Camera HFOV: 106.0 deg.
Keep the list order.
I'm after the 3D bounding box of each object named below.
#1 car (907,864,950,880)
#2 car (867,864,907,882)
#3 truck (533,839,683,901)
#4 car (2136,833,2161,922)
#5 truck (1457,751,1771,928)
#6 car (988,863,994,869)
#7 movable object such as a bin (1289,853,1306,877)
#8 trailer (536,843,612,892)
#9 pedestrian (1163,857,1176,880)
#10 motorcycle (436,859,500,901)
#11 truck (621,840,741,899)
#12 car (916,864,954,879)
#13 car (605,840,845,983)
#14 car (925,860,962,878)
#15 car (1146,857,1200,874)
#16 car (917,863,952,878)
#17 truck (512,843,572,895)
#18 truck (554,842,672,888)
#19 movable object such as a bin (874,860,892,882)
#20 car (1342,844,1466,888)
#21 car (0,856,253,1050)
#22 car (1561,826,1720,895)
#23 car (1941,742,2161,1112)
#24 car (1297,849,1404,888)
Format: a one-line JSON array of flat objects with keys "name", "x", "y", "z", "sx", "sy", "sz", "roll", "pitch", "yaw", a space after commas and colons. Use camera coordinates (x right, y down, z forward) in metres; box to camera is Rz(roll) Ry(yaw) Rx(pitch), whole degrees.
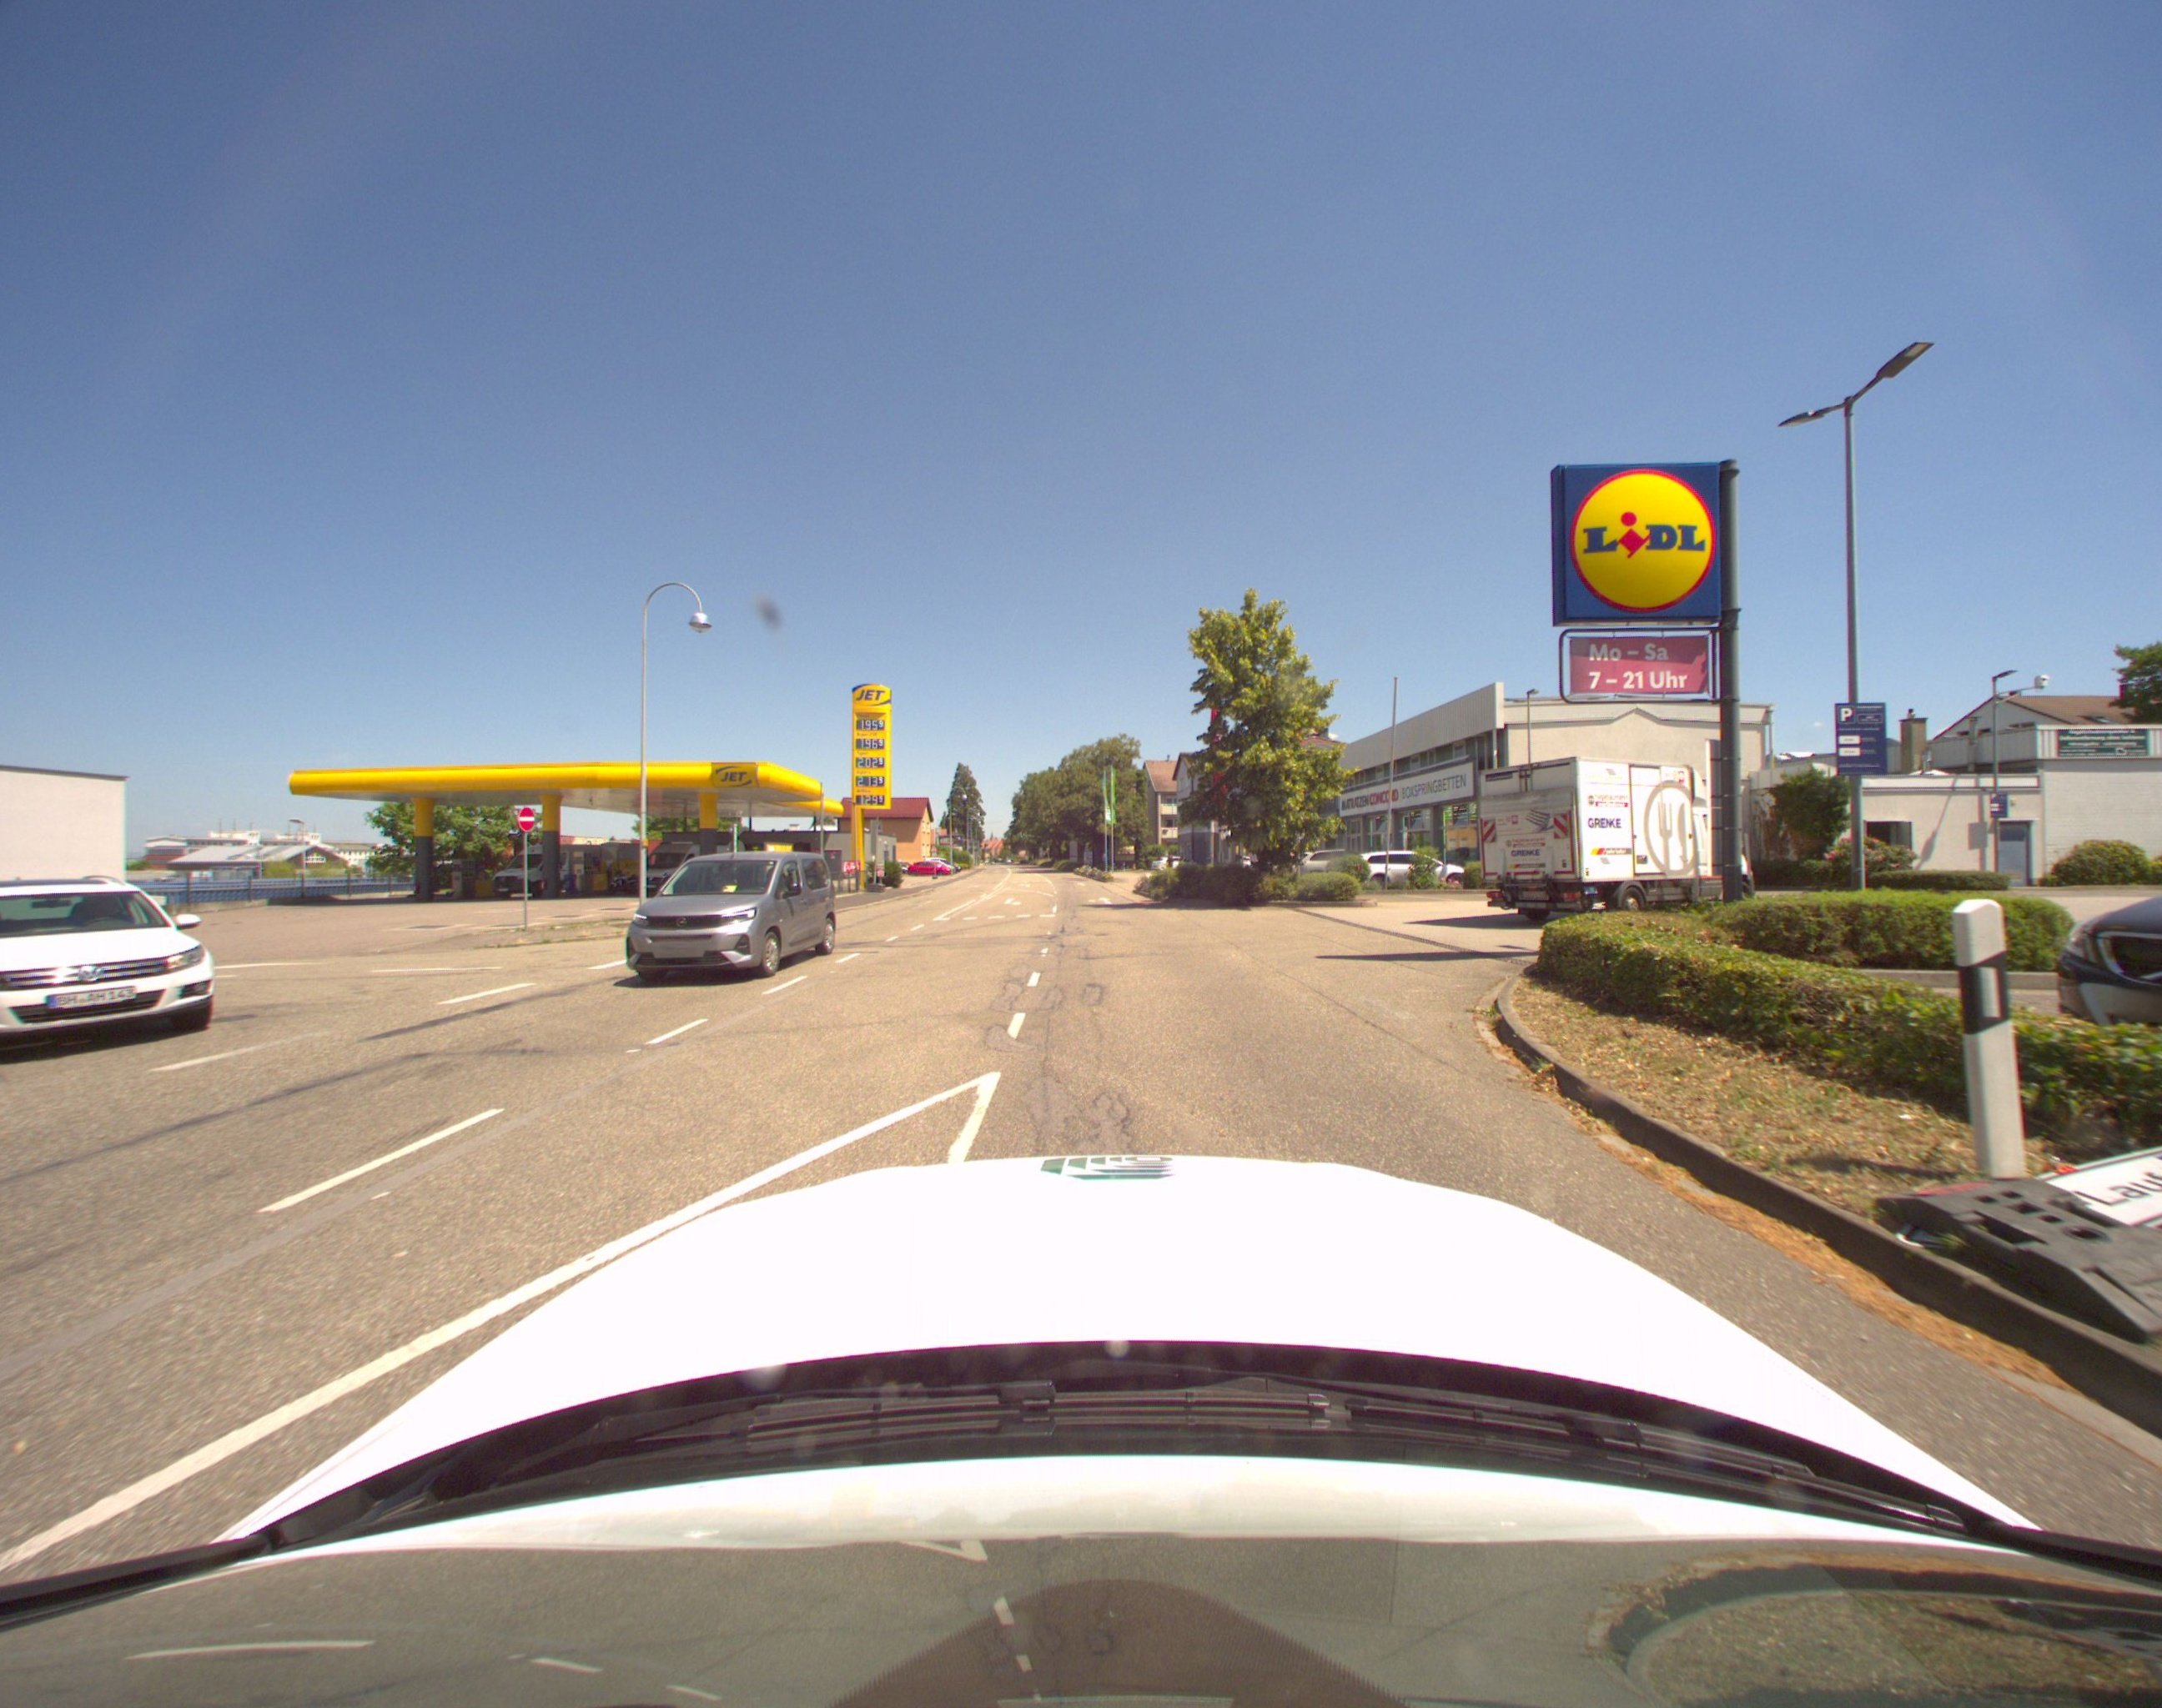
[{"name": "car", "x": -15.260, "y": 1.826, "z": 81.711, "sx": 4.120, "sy": 1.444, "sz": 1.823, "roll": -1, "pitch": -1, "yaw": -6}, {"name": "car", "x": -19.797, "y": 1.904, "z": 83.240, "sx": 3.661, "sy": 1.709, "sz": 1.887, "roll": -1, "pitch": -1, "yaw": -8}, {"name": "truck", "x": -24.394, "y": 0.803, "z": 42.430, "sx": 2.619, "sy": 2.913, "sz": 6.760, "roll": -2, "pitch": -1, "yaw": 16}, {"name": "car", "x": 20.679, "y": 0.391, "z": 13.750, "sx": 3.981, "sy": 1.532, "sz": 1.649, "roll": 0, "pitch": -1, "yaw": -6}, {"name": "truck", "x": 10.493, "y": -0.244, "z": 15.978, "sx": 5.963, "sy": 2.949, "sz": 2.402, "roll": 0, "pitch": -1, "yaw": -26}, {"name": "car", "x": -25.549, "y": 3.429, "z": 231.640, "sx": 1.707, "sy": 1.495, "sz": 4.269, "roll": -1, "pitch": 0, "yaw": -5}, {"name": "movable object such as a bin", "x": 13.573, "y": 0.664, "z": 51.104, "sx": 0.849, "sy": 1.445, "sz": 0.702, "roll": -4, "pitch": -1, "yaw": 2}, {"name": "trailer", "x": -34.993, "y": 0.890, "z": 56.404, "sx": 1.861, "sy": 3.219, "sz": 5.905, "roll": -1, "pitch": 0, "yaw": -4}, {"name": "pedestrian", "x": 6.510, "y": 1.044, "z": 60.076, "sx": 0.837, "sy": 1.641, "sz": 1.010, "roll": -1, "pitch": -1, "yaw": 0}, {"name": "motorcycle", "x": -30.939, "y": 1.287, "z": 41.144, "sx": 0.832, "sy": 2.014, "sz": 2.799, "roll": -1, "pitch": -1, "yaw": 8}, {"name": "truck", "x": -19.452, "y": 0.726, "z": 40.113, "sx": 2.224, "sy": 2.598, "sz": 6.737, "roll": -1, "pitch": -1, "yaw": 3}, {"name": "car", "x": -15.027, "y": 1.765, "z": 83.907, "sx": 3.661, "sy": 1.457, "sz": 1.888, "roll": -1, "pitch": -1, "yaw": -7}, {"name": "car", "x": -5.173, "y": 0.736, "z": 12.566, "sx": 1.791, "sy": 1.772, "sz": 4.362, "roll": -2, "pitch": 0, "yaw": -1}, {"name": "car", "x": -16.085, "y": 1.743, "z": 95.363, "sx": 4.094, "sy": 1.898, "sz": 1.993, "roll": -1, "pitch": -1, "yaw": -10}, {"name": "car", "x": 8.152, "y": 0.993, "z": 71.852, "sx": 4.368, "sy": 1.371, "sz": 1.938, "roll": -1, "pitch": -1, "yaw": -28}, {"name": "car", "x": -15.956, "y": 1.821, "z": 88.860, "sx": 3.661, "sy": 1.581, "sz": 1.917, "roll": -1, "pitch": -1, "yaw": -7}, {"name": "truck", "x": -34.717, "y": 0.922, "z": 52.563, "sx": 1.842, "sy": 3.242, "sz": 3.184, "roll": -1, "pitch": 0, "yaw": -4}, {"name": "truck", "x": -37.265, "y": 0.897, "z": 65.047, "sx": 7.860, "sy": 3.426, "sz": 2.151, "roll": -1, "pitch": -1, "yaw": -6}, {"name": "movable object such as a bin", "x": -14.260, "y": 1.230, "z": 58.625, "sx": 0.950, "sy": 1.517, "sz": 1.426, "roll": 3, "pitch": 0, "yaw": -4}, {"name": "car", "x": 11.837, "y": 0.437, "z": 30.080, "sx": 3.961, "sy": 1.460, "sz": 1.811, "roll": -2, "pitch": -1, "yaw": 11}, {"name": "car", "x": -10.967, "y": 0.912, "z": 8.732, "sx": 4.193, "sy": 1.672, "sz": 1.988, "roll": -1, "pitch": 0, "yaw": 31}, {"name": "car", "x": 16.858, "y": 0.215, "z": 24.845, "sx": 1.702, "sy": 1.890, "sz": 4.251, "roll": -1, "pitch": -1, "yaw": -4}, {"name": "car", "x": 7.120, "y": 0.287, "z": 3.606, "sx": 4.495, "sy": 1.667, "sz": 1.896, "roll": -1, "pitch": 0, "yaw": 3}, {"name": "car", "x": 12.376, "y": 0.669, "z": 37.766, "sx": 4.548, "sy": 1.642, "sz": 2.008, "roll": -2, "pitch": -1, "yaw": 14}]
